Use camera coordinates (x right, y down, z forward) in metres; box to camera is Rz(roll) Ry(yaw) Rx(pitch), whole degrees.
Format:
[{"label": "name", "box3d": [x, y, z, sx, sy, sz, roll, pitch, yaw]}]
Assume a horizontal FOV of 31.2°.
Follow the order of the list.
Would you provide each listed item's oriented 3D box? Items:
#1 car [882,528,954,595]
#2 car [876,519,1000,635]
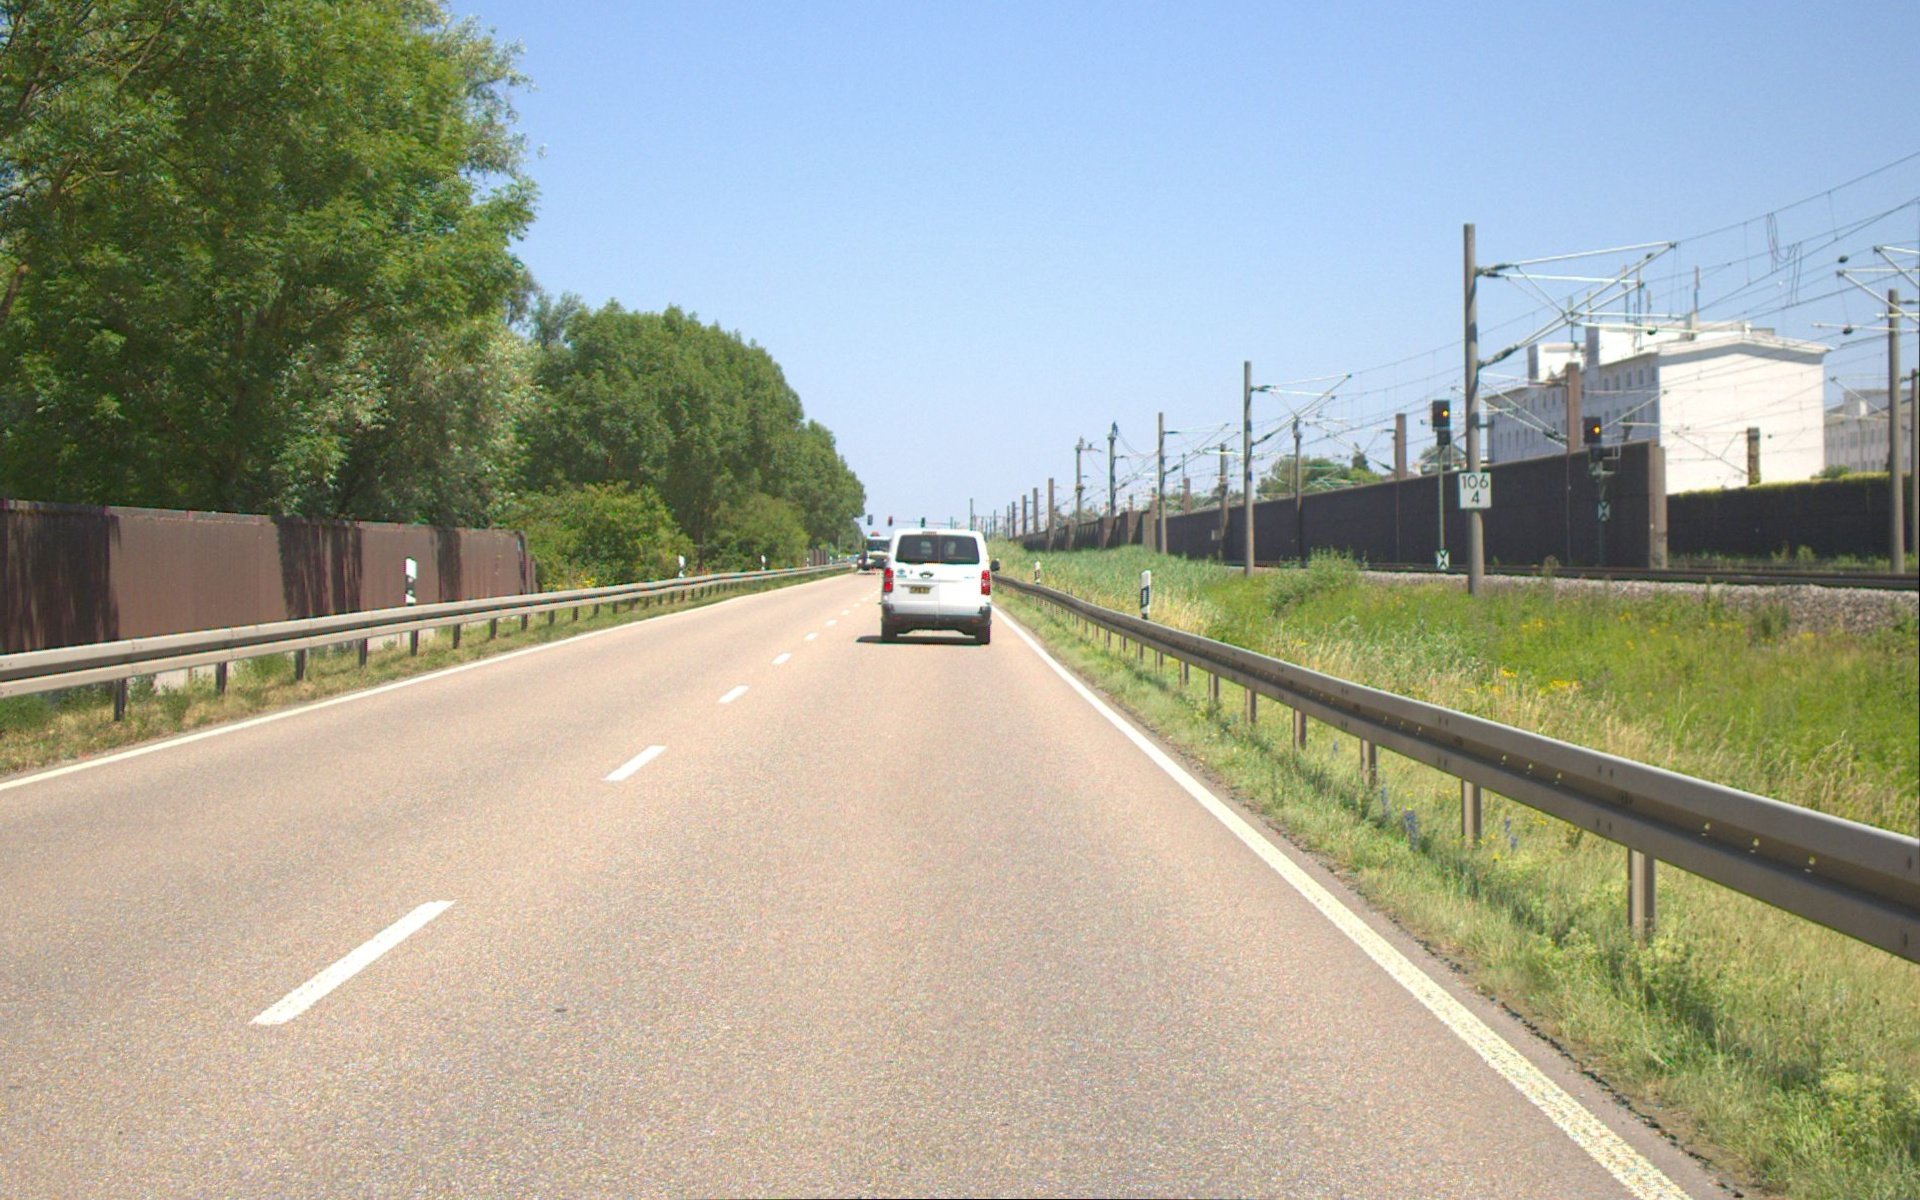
[{"label": "car", "box3d": [-1.206, -1.117, 99.459, 1.993, 1.843, 4.000, 2, 1, 0]}, {"label": "car", "box3d": [-0.381, -0.409, 58.658, 1.993, 1.843, 4.000, 2, 1, 0]}]
